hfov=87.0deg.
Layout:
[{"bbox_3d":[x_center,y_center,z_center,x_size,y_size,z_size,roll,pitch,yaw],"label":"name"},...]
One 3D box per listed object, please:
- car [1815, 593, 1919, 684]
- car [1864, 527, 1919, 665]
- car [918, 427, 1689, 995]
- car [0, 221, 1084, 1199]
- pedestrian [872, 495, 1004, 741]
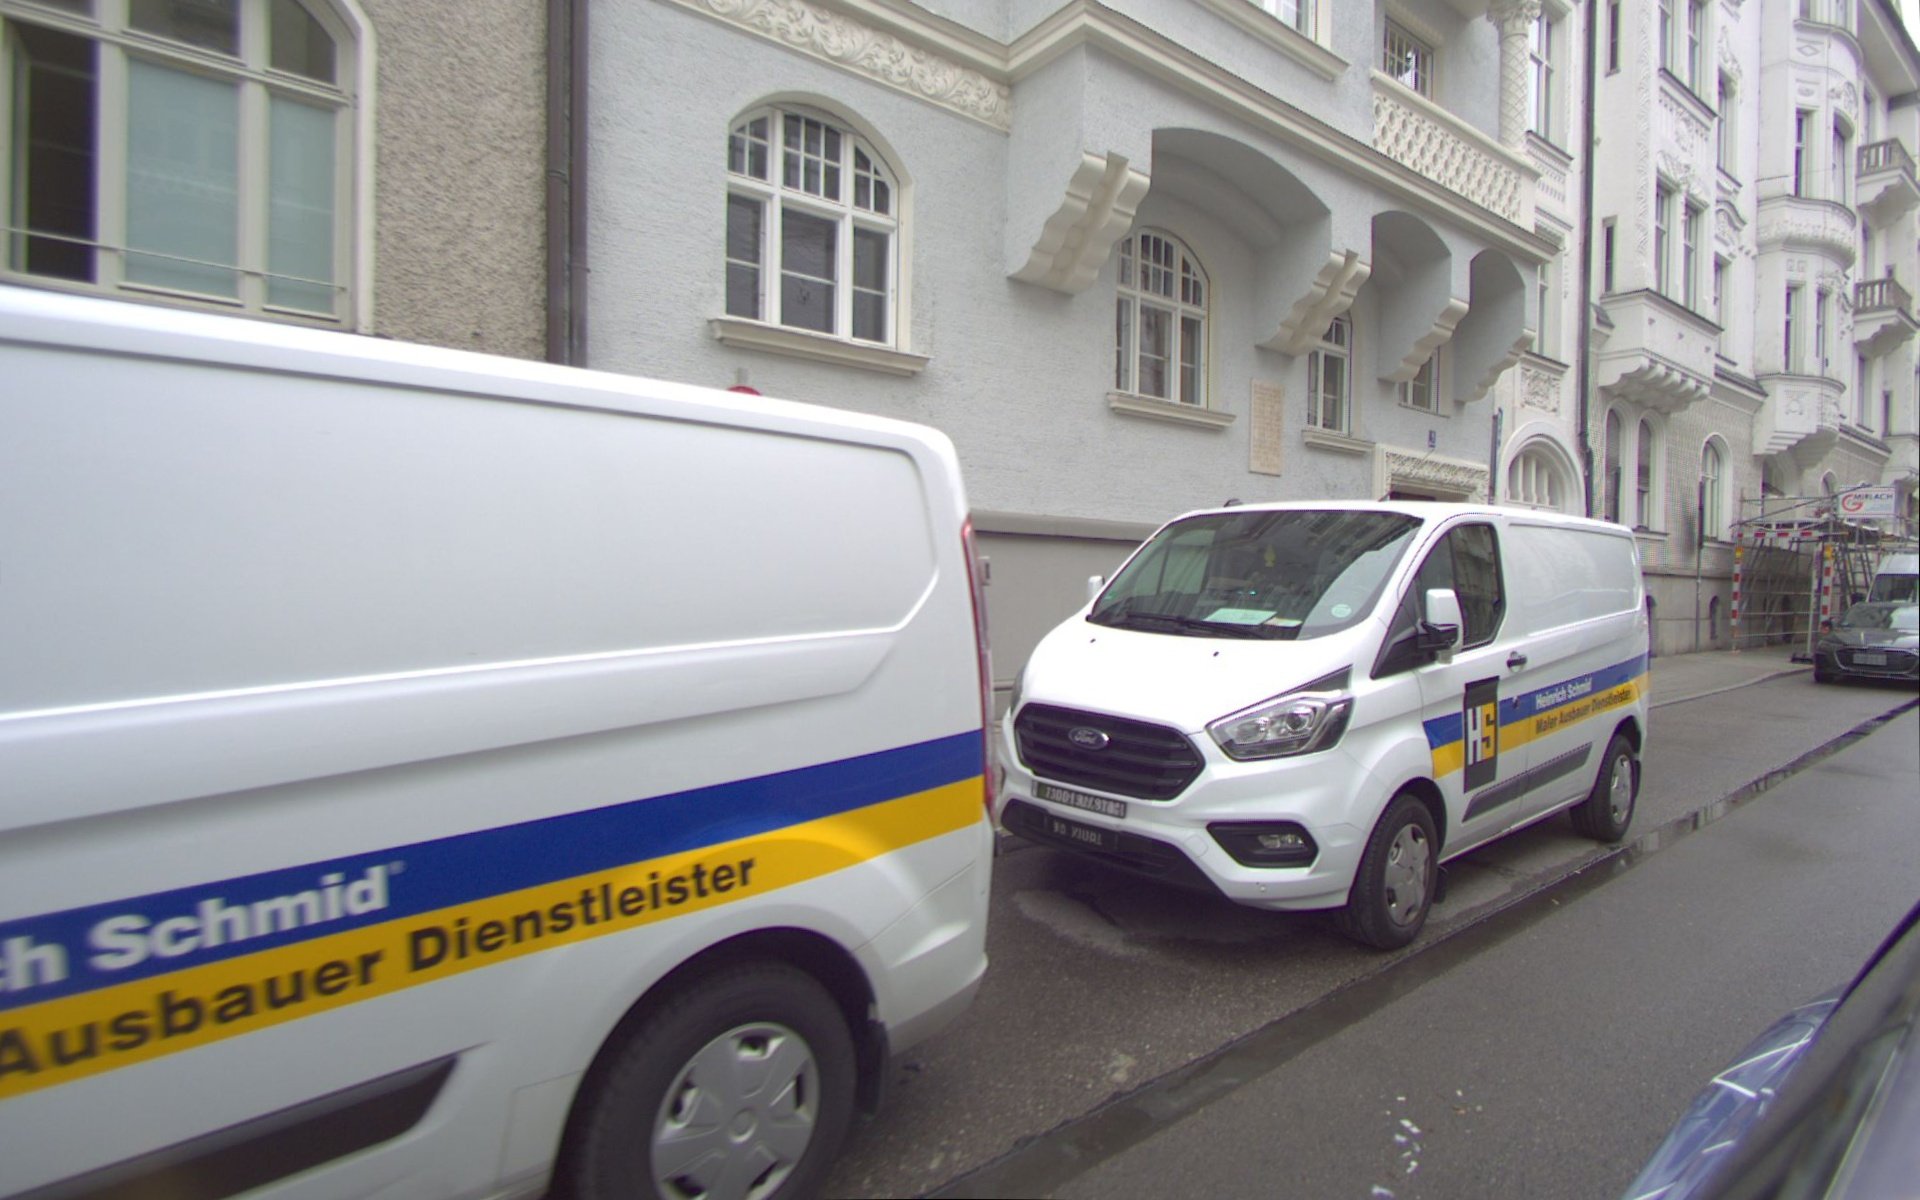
[{"bbox_3d":[16.653,0.605,17.761,4.168,1.425,1.792,0,2,-39],"label":"car"},{"bbox_3d":[21.250,-0.080,21.547,5.347,2.721,2.082,0,3,-39],"label":"car"},{"bbox_3d":[2.260,0.342,5.782,4.792,1.942,1.998,0,1,-40],"label":"car"},{"bbox_3d":[-2.122,0.432,1.999,4.801,1.942,1.997,0,1,-41],"label":"car"},{"bbox_3d":[-0.193,0.129,8.485,0.732,1.926,0.854,0,1,-36],"label":"pedestrian"}]
